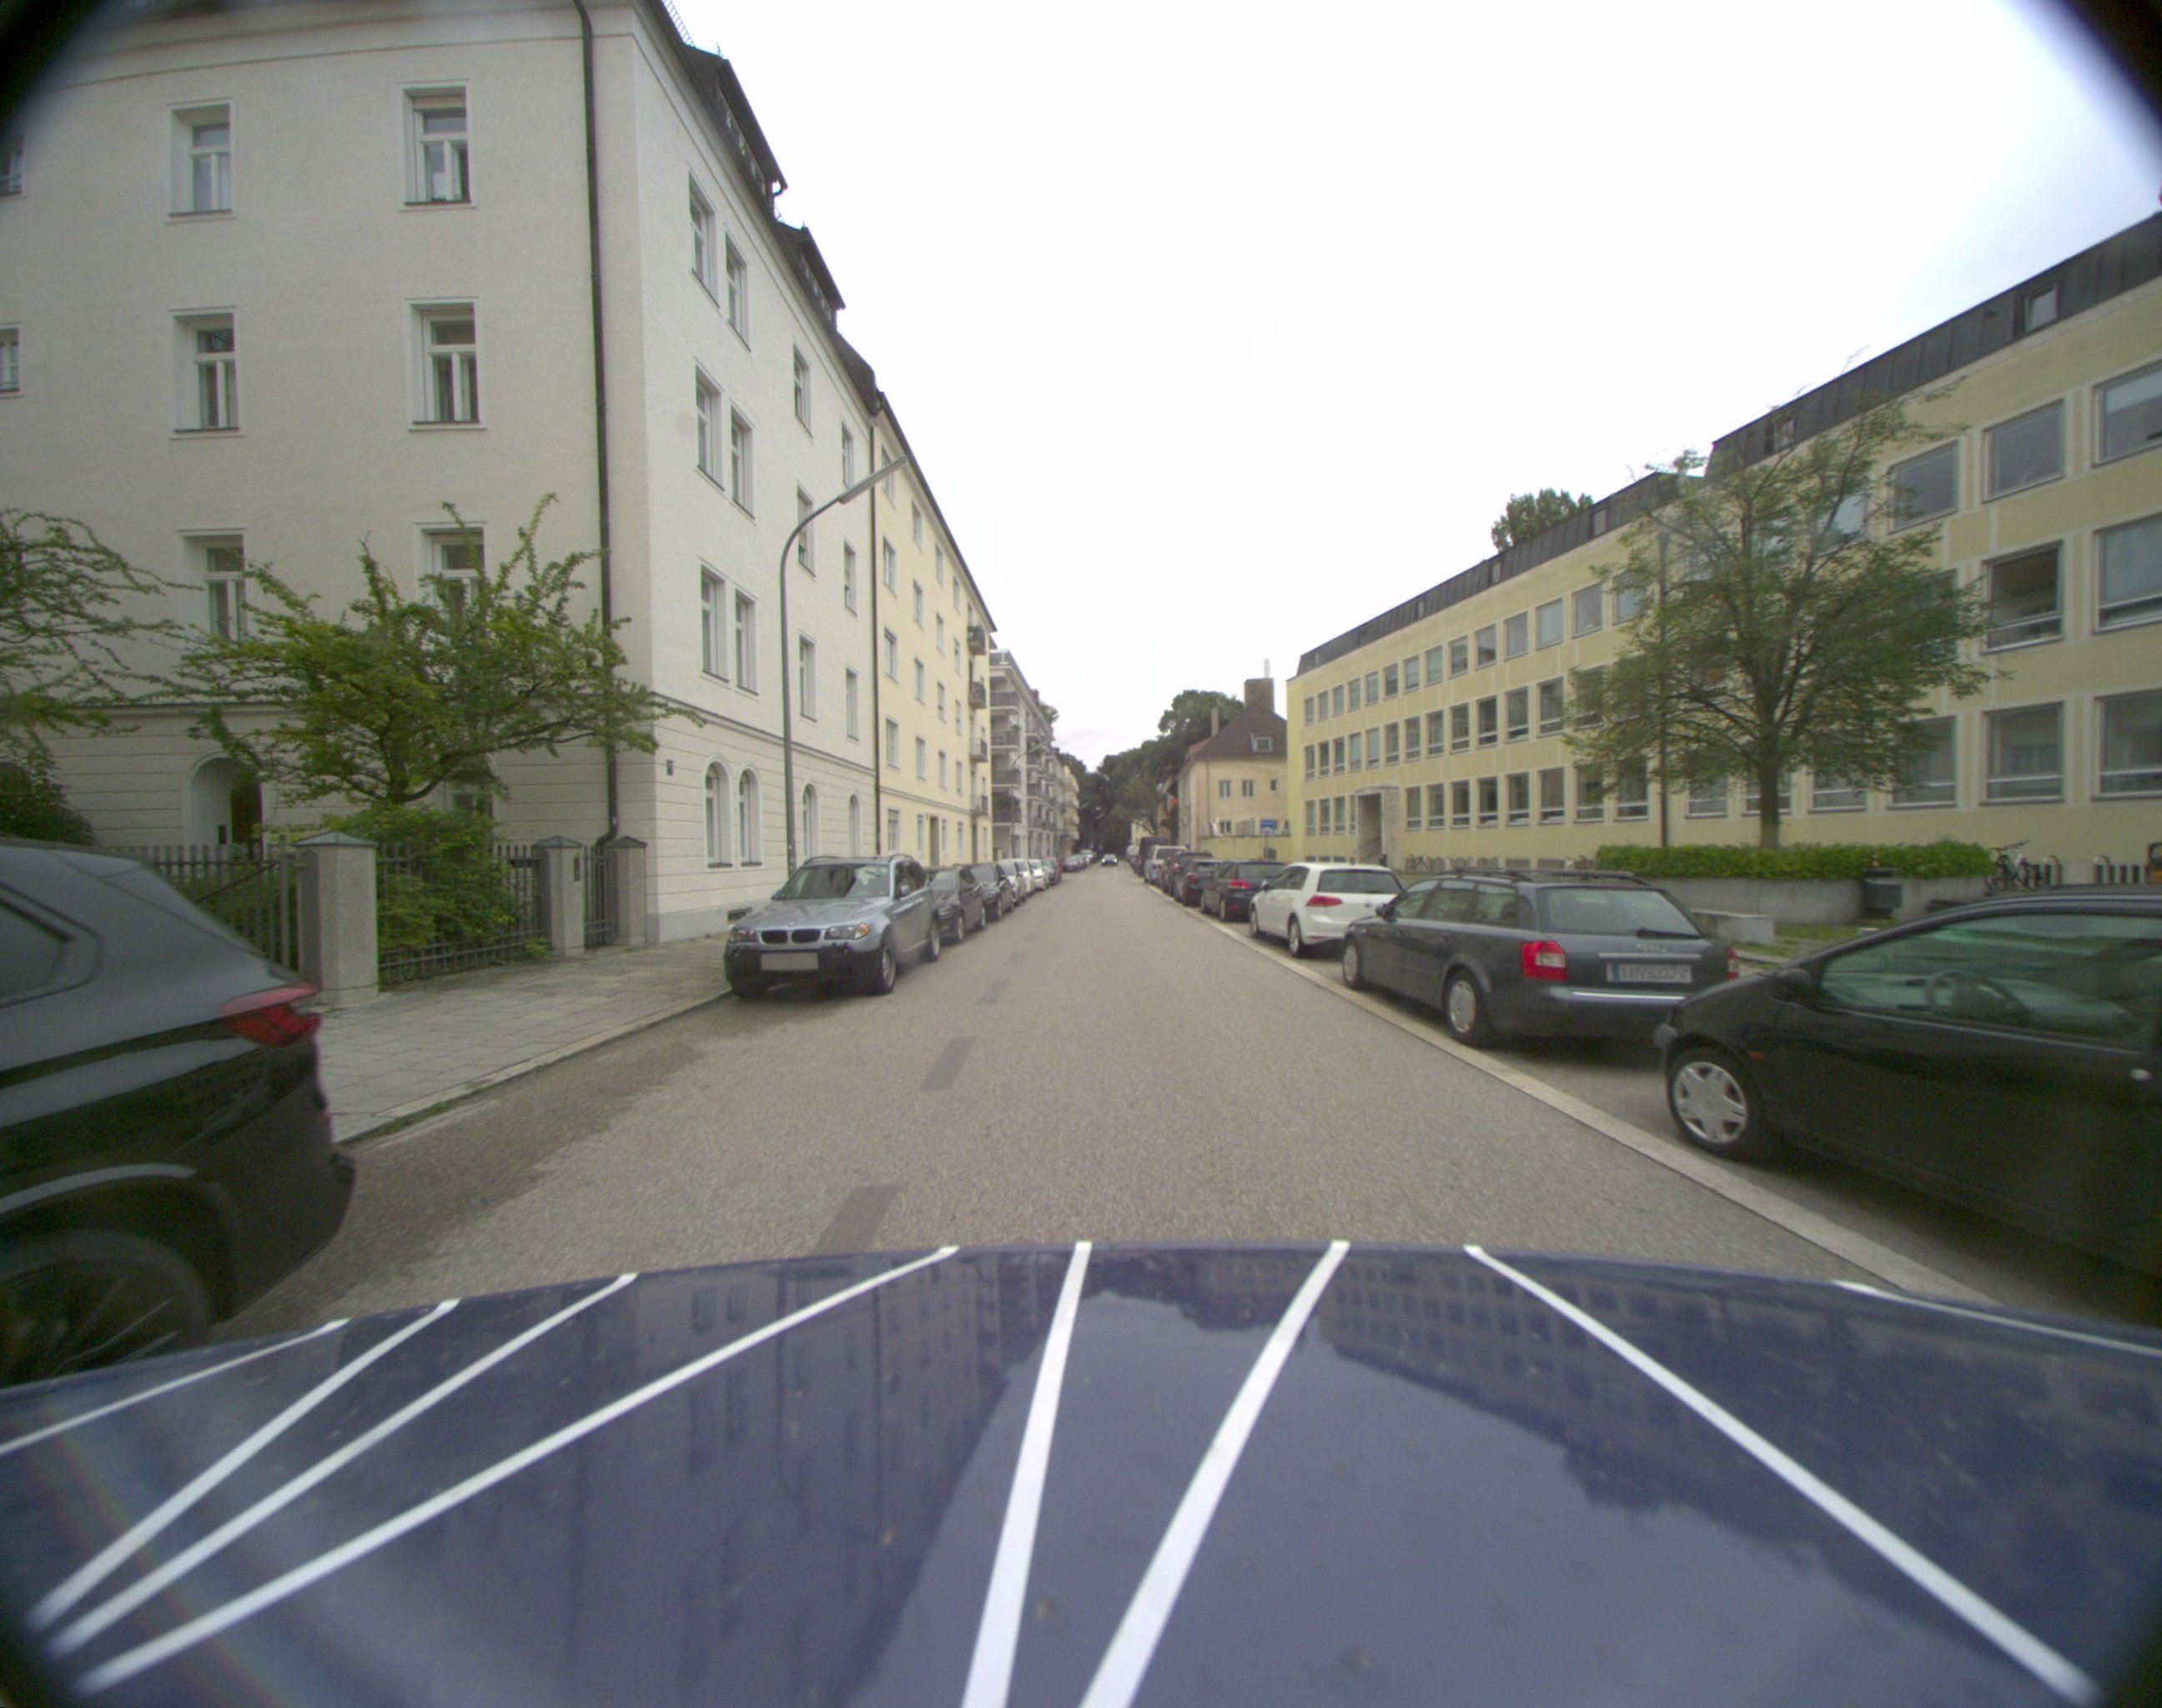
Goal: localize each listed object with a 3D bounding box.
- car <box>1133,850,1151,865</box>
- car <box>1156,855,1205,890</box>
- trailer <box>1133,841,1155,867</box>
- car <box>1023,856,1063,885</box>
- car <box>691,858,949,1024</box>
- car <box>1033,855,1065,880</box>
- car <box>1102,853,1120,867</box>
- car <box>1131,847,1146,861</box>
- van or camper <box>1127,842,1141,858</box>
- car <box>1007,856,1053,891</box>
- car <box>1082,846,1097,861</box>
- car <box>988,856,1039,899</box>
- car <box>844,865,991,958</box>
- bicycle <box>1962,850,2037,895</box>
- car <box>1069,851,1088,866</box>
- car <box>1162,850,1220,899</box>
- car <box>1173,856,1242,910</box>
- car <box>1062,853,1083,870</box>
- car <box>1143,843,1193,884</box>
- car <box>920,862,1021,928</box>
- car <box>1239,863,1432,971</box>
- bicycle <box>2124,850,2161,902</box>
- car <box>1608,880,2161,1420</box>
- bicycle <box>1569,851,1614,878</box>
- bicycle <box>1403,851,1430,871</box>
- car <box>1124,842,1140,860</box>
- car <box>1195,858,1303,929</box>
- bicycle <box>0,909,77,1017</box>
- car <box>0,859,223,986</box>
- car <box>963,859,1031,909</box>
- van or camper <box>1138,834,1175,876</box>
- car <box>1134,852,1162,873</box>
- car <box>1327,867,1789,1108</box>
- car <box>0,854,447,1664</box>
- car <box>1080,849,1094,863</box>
[{"bbox_3d":[6.390,0.306,79.489,1.683,1.521,4.107,0,0,2],"label":"car"},{"bbox_3d":[4.430,0.789,34.173,1.809,1.398,3.709,1,0,2],"label":"car"},{"bbox_3d":[6.193,-0.043,74.473,1.980,2.457,4.578,2,1,6],"label":"trailer"},{"bbox_3d":[-1.994,0.854,41.136,1.777,1.421,4.615,-2,0,1],"label":"car"},{"bbox_3d":[-3.145,0.927,10.275,1.851,1.654,4.498,-2,0,0],"label":"car"},{"bbox_3d":[-1.892,0.778,46.113,1.659,1.421,3.756,-2,0,1],"label":"car"},{"bbox_3d":[3.445,0.668,87.463,1.998,1.521,4.000,-2,0,2],"label":"car"},{"bbox_3d":[7.254,-0.013,96.528,1.719,1.746,4.251,0,0,2],"label":"car"},{"bbox_3d":[8.612,-0.659,123.334,2.116,2.646,4.958,0,0,2],"label":"van or camper"},{"bbox_3d":[-2.308,0.859,35.315,1.729,1.421,4.293,-2,0,1],"label":"car"},{"bbox_3d":[1.165,-0.103,106.280,1.858,2.019,4.784,-2,0,3],"label":"car"},{"bbox_3d":[-2.642,0.879,30.483,1.655,1.535,3.993,-2,0,0],"label":"car"},{"bbox_3d":[-3.025,1.011,14.956,1.832,1.441,4.084,-2,0,2],"label":"car"},{"bbox_3d":[21.310,0.412,17.627,1.610,0.939,0.502,-3,1,-17],"label":"bicycle"},{"bbox_3d":[-0.202,0.452,79.522,1.795,1.473,4.603,-2,1,1],"label":"car"},{"bbox_3d":[4.091,0.719,28.890,1.719,1.680,4.141,1,1,2],"label":"car"},{"bbox_3d":[3.853,0.842,23.654,1.635,1.486,3.820,0,1,2],"label":"car"},{"bbox_3d":[-0.766,0.662,68.878,1.775,1.467,4.217,-1,0,0],"label":"car"},{"bbox_3d":[4.392,0.460,39.043,1.920,1.948,4.961,1,0,0],"label":"car"},{"bbox_3d":[-2.816,0.996,20.397,1.880,1.441,4.678,-2,0,1],"label":"car"},{"bbox_3d":[4.006,0.905,12.761,1.745,1.414,4.293,0,0,-1],"label":"car"},{"bbox_3d":[21.726,0.426,15.284,1.611,0.939,0.502,-3,1,-22],"label":"bicycle"},{"bbox_3d":[3.975,0.912,2.725,1.635,1.486,3.603,0,0,0],"label":"car"},{"bbox_3d":[19.468,0.397,28.968,1.410,0.939,0.414,-3,1,-1],"label":"bicycle"},{"bbox_3d":[16.996,0.357,38.447,1.413,0.939,0.413,-3,1,-27],"label":"bicycle"},{"bbox_3d":[7.149,-0.465,107.022,2.116,2.461,5.232,0,0,2],"label":"car"},{"bbox_3d":[3.981,0.868,18.668,1.635,1.486,4.099,1,0,-1],"label":"car"},{"bbox_3d":[-11.627,1.145,8.015,1.174,1.055,0.735,-1,1,8],"label":"bicycle"},{"bbox_3d":[-13.923,0.883,9.448,1.862,1.449,3.999,-2,1,0],"label":"car"},{"bbox_3d":[-2.720,0.935,25.475,1.728,1.441,4.187,-2,0,0],"label":"car"},{"bbox_3d":[5.080,0.045,52.073,2.298,2.635,5.562,1,1,4],"label":"van or camper"},{"bbox_3d":[5.017,0.599,57.339,1.657,1.488,3.908,1,0,-1],"label":"car"},{"bbox_3d":[3.842,0.922,7.158,1.635,1.486,4.274,0,0,0],"label":"car"},{"bbox_3d":[-3.475,0.911,0.233,2.175,1.729,5.024,-2,0,2],"label":"car"},{"bbox_3d":[0.716,0.226,91.523,1.668,1.459,4.375,-1,2,0],"label":"car"}]
